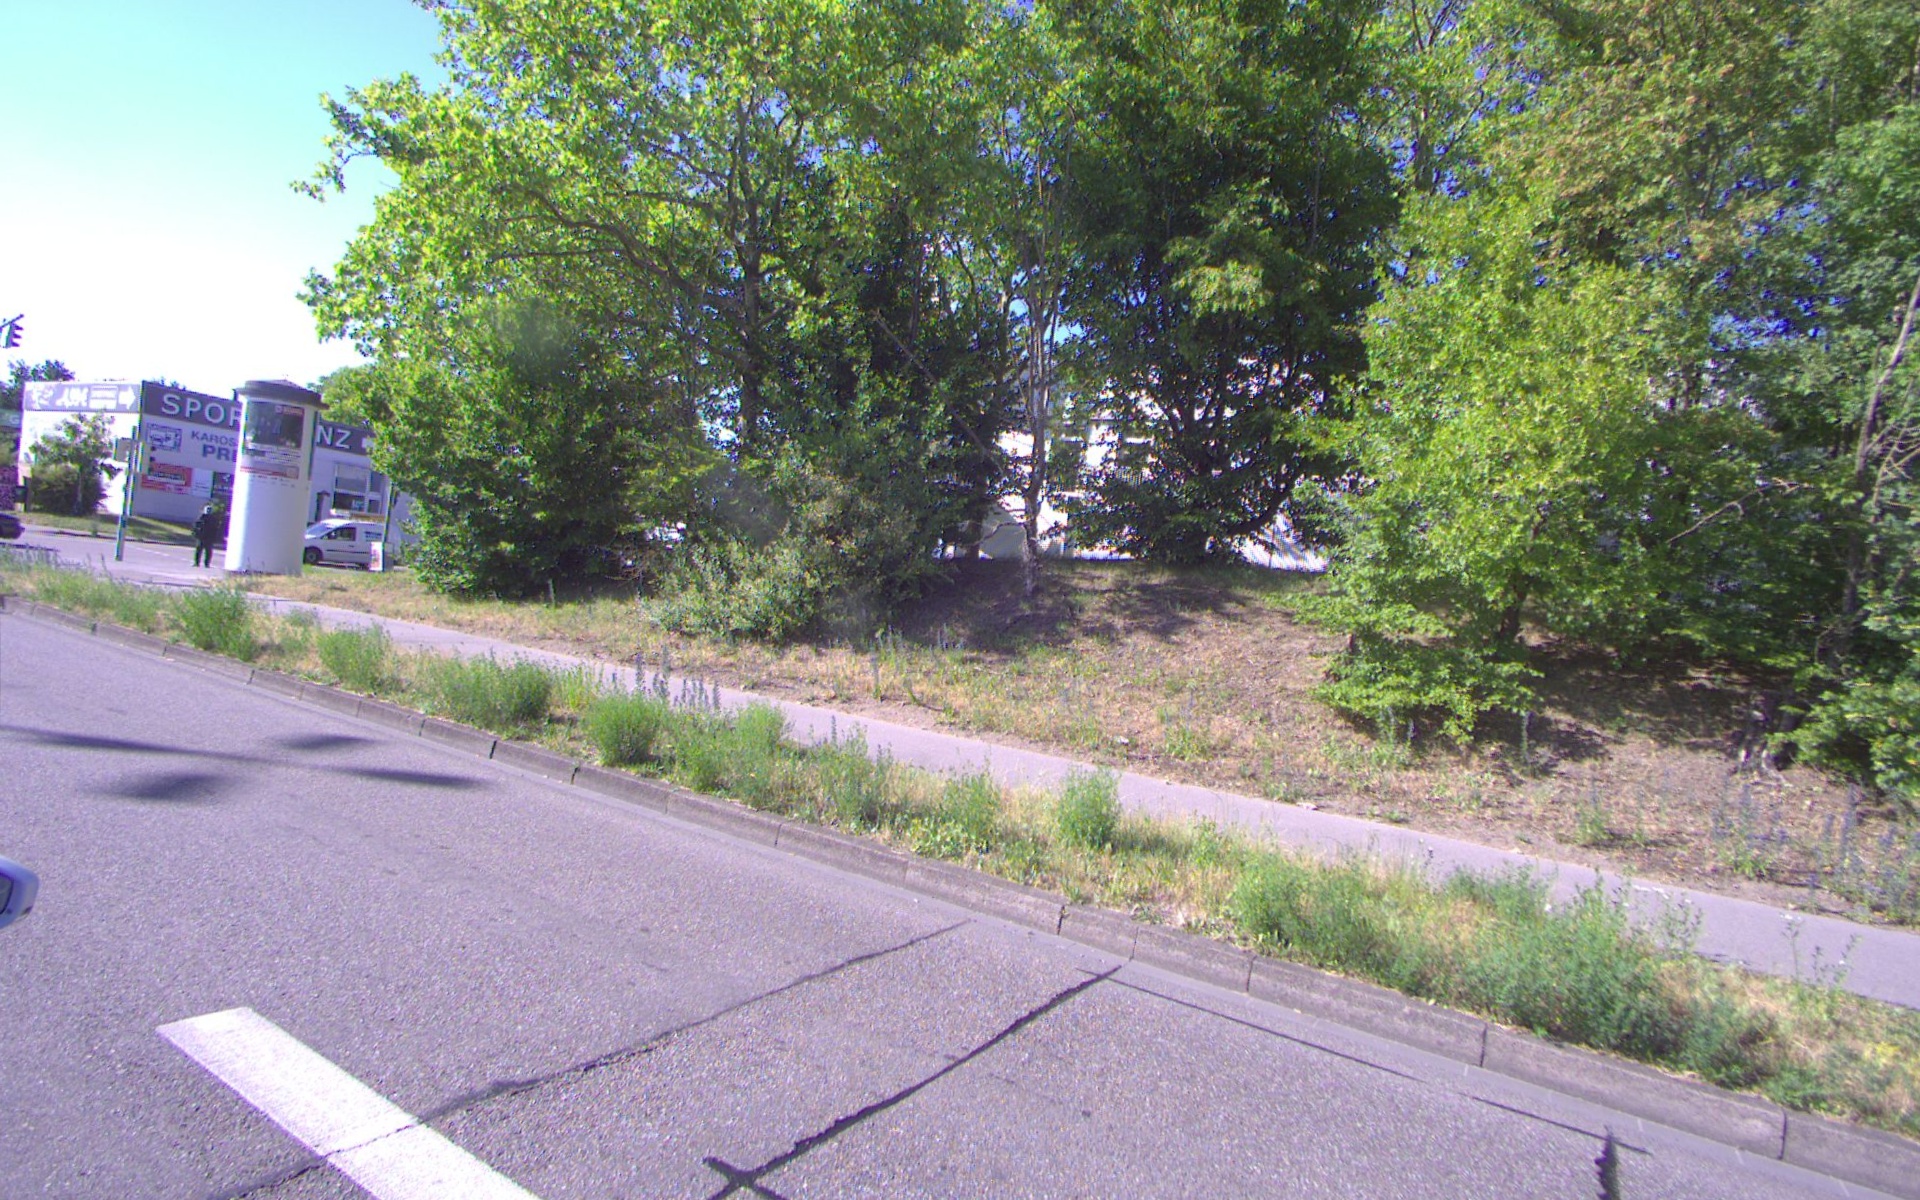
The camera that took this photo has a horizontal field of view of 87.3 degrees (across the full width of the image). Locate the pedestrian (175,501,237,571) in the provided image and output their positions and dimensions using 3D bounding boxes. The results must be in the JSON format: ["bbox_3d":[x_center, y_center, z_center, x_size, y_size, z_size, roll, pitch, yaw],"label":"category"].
[{"bbox_3d":[-21.011,-1.779,28.038,0.923,1.755,0.927,6,-1,31],"label":"pedestrian"}]

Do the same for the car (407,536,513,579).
[{"bbox_3d":[-23.025,-1.949,46.453,1.752,1.509,4.046,7,1,30],"label":"car"}]

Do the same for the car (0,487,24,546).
[{"bbox_3d":[-26.982,-2.388,25.531,1.736,1.509,4.412,7,1,33],"label":"car"}]

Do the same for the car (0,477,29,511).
[{"bbox_3d":[-46.893,-5.228,47.104,1.828,1.472,4.490,7,1,33],"label":"car"}]

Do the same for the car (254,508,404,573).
[{"bbox_3d":[-23.868,-2.205,38.231,1.735,1.824,4.387,9,1,30],"label":"car"}]

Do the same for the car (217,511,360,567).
[{"bbox_3d":[-26.625,-2.382,40.024,1.735,1.568,4.292,9,1,30],"label":"car"}]

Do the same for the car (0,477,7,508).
[{"bbox_3d":[-49.245,-5.495,48.474,1.828,1.472,4.490,7,1,33],"label":"car"}]
